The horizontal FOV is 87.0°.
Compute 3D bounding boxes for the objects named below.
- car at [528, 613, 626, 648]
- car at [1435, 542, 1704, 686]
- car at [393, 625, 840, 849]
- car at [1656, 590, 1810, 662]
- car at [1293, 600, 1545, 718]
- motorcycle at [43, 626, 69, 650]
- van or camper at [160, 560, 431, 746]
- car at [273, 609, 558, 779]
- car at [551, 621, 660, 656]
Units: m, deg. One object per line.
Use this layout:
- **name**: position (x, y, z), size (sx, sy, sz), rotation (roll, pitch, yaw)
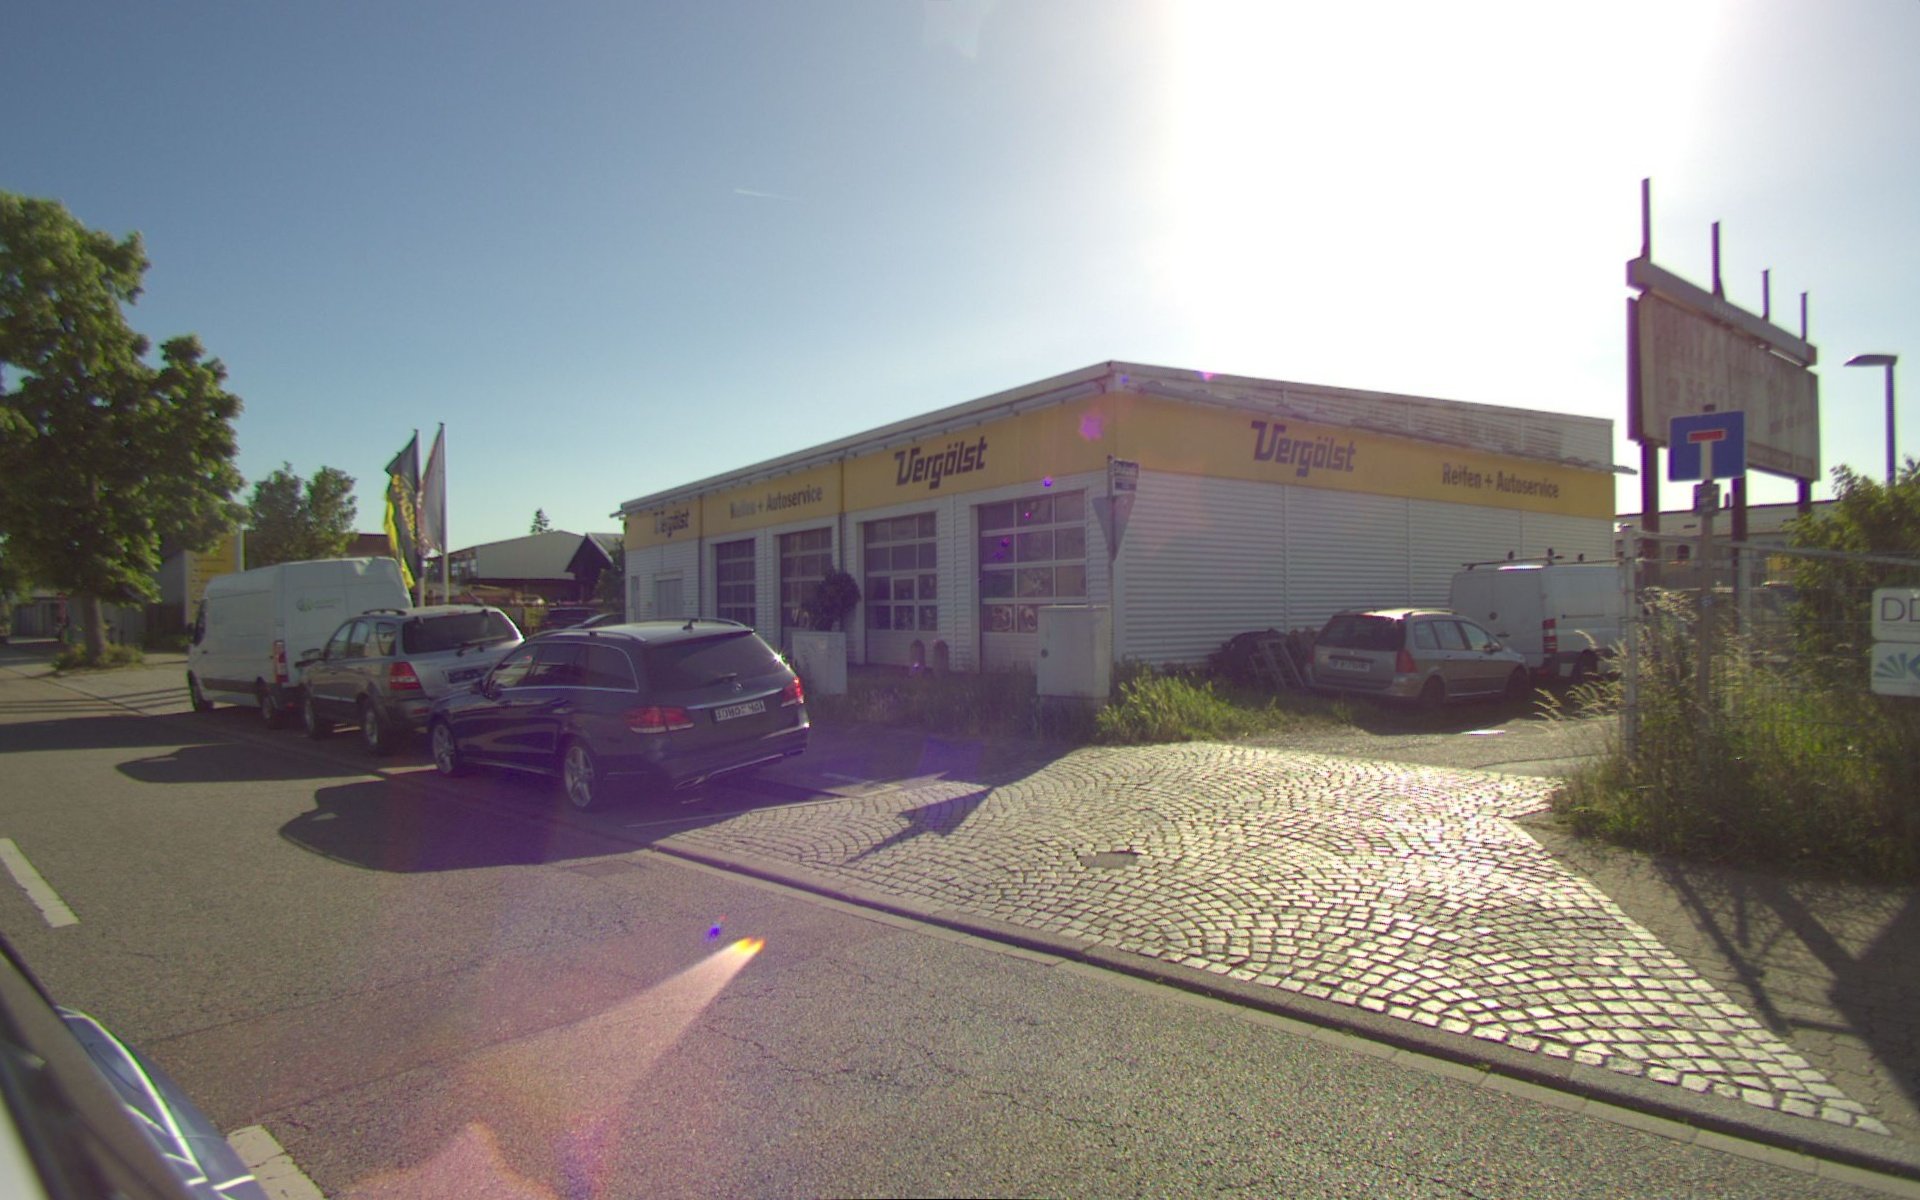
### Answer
- **car**: position (-19.450, 1.539, 51.429), size (4.262, 1.668, 2.004), rotation (0, -1, -37)
- **car**: position (11.719, 0.247, 19.360), size (5.365, 2.424, 2.212), rotation (0, -1, -32)
- **car**: position (-3.534, 1.073, 9.786), size (5.000, 1.521, 1.781), rotation (-1, 2, 42)
- **car**: position (18.526, 0.593, 24.207), size (4.103, 1.586, 1.853), rotation (0, -1, -36)
- **car**: position (7.168, 0.810, 15.669), size (4.105, 1.586, 1.919), rotation (0, -1, -39)
- **motorcycle**: position (-49.655, 2.057, 55.591), size (2.537, 1.242, 0.692), rotation (-1, 1, 41)
- **van or camper**: position (-11.461, 0.786, 17.188), size (6.400, 2.568, 2.050), rotation (-2, 2, 41)
- **car**: position (-7.352, 1.084, 13.444), size (4.576, 1.751, 1.972), rotation (-1, 2, 44)
- **car**: position (-16.385, 1.745, 46.901), size (4.385, 1.519, 2.004), rotation (0, -1, -37)
